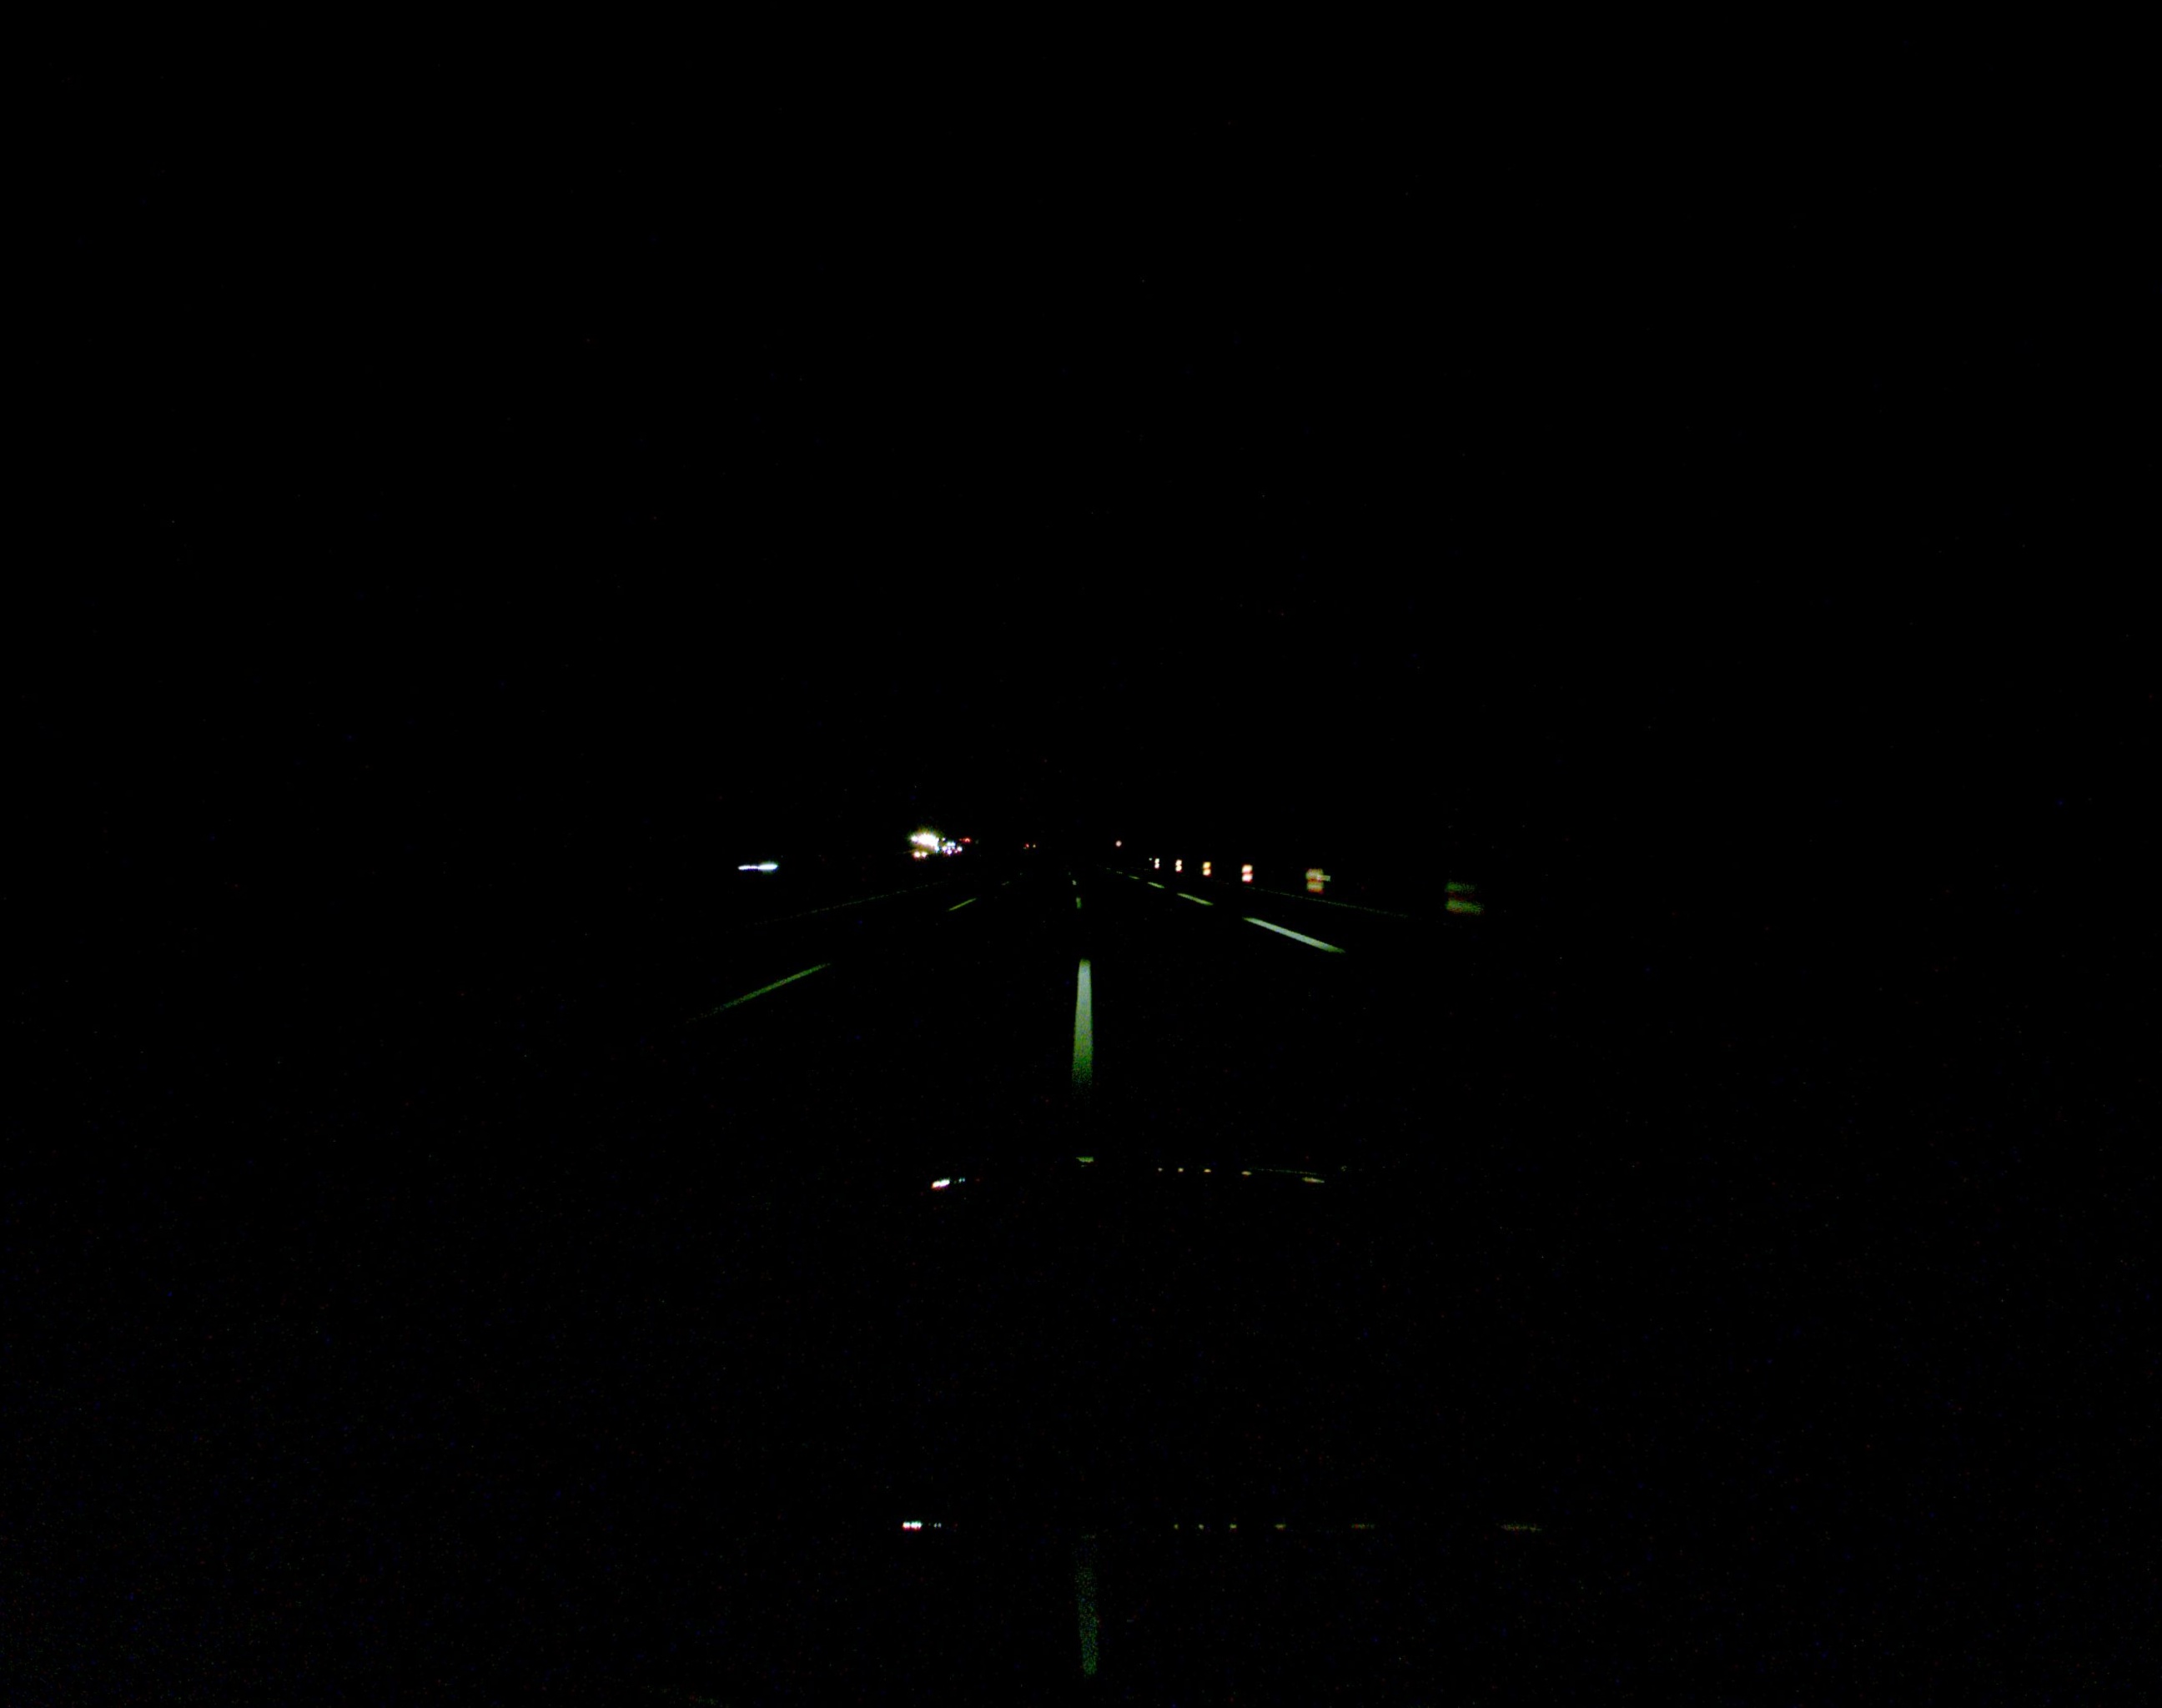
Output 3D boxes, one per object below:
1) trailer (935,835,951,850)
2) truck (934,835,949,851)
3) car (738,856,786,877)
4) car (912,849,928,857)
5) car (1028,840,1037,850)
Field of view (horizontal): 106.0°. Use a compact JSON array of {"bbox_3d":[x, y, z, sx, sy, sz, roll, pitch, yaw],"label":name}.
[{"bbox_3d":[-38.922,-3.127,230.358,3.594,4.090,14.097,-1,1,-6],"label":"trailer"},{"bbox_3d":[-38.283,-2.998,223.853,3.585,4.099,5.982,-1,1,-6],"label":"truck"},{"bbox_3d":[-23.448,0.893,59.945,1.989,1.508,4.311,-1,0,-3],"label":"car"},{"bbox_3d":[-28.215,-0.193,142.807,1.989,1.508,3.996,-1,0,-3],"label":"car"},{"bbox_3d":[-13.251,-2.411,222.281,2.523,2.553,6.042,2,1,-4],"label":"car"}]
